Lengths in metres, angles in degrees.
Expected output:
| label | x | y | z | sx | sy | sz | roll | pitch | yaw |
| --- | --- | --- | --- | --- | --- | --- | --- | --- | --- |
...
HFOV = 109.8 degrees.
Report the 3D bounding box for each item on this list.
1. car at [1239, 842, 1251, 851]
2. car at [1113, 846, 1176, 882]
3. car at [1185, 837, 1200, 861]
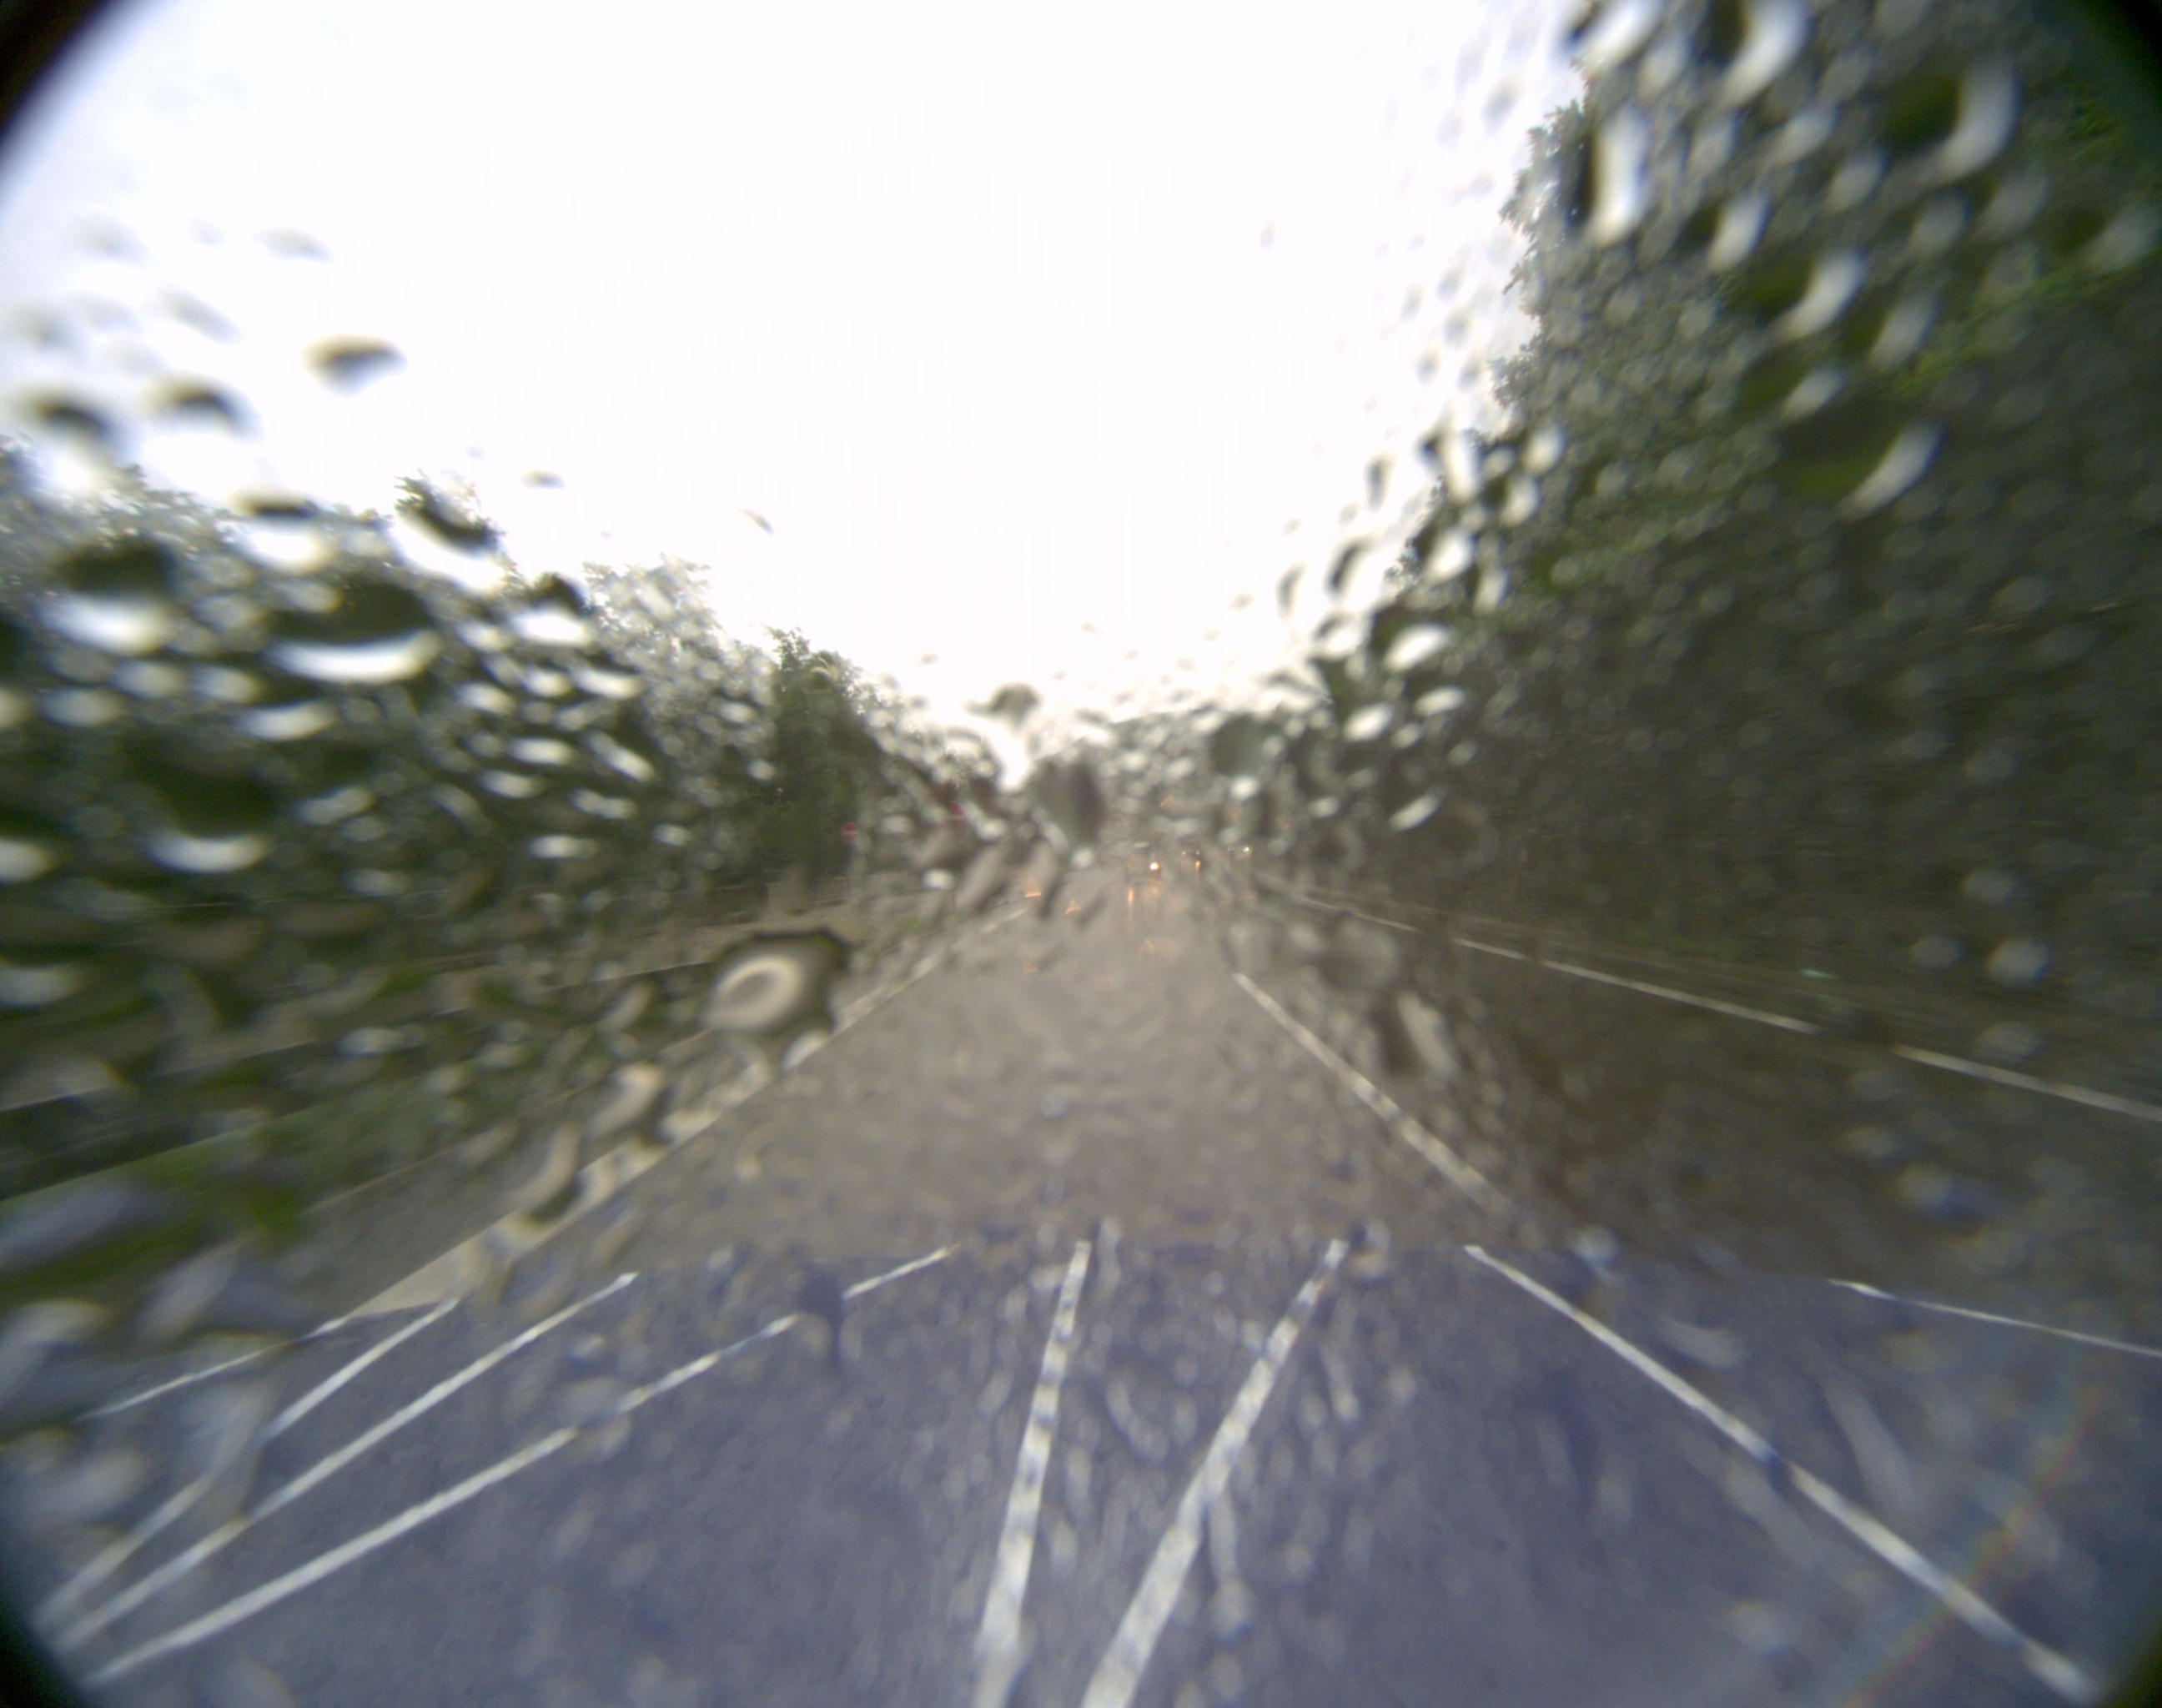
| label | x | y | z | sx | sy | sz | roll | pitch | yaw |
| --- | --- | --- | --- | --- | --- | --- | --- | --- | --- |
| car | 32.240 | -1.480 | 149.202 | 1.735 | 1.656 | 3.871 | -2 | 0 | 18 |
| car | 3.339 | 0.443 | 38.813 | 2.357 | 1.549 | 5.503 | -2 | 1 | 13 |
| car | 14.502 | -0.708 | 98.544 | 1.740 | 3.008 | 4.003 | -2 | 1 | 11 |
